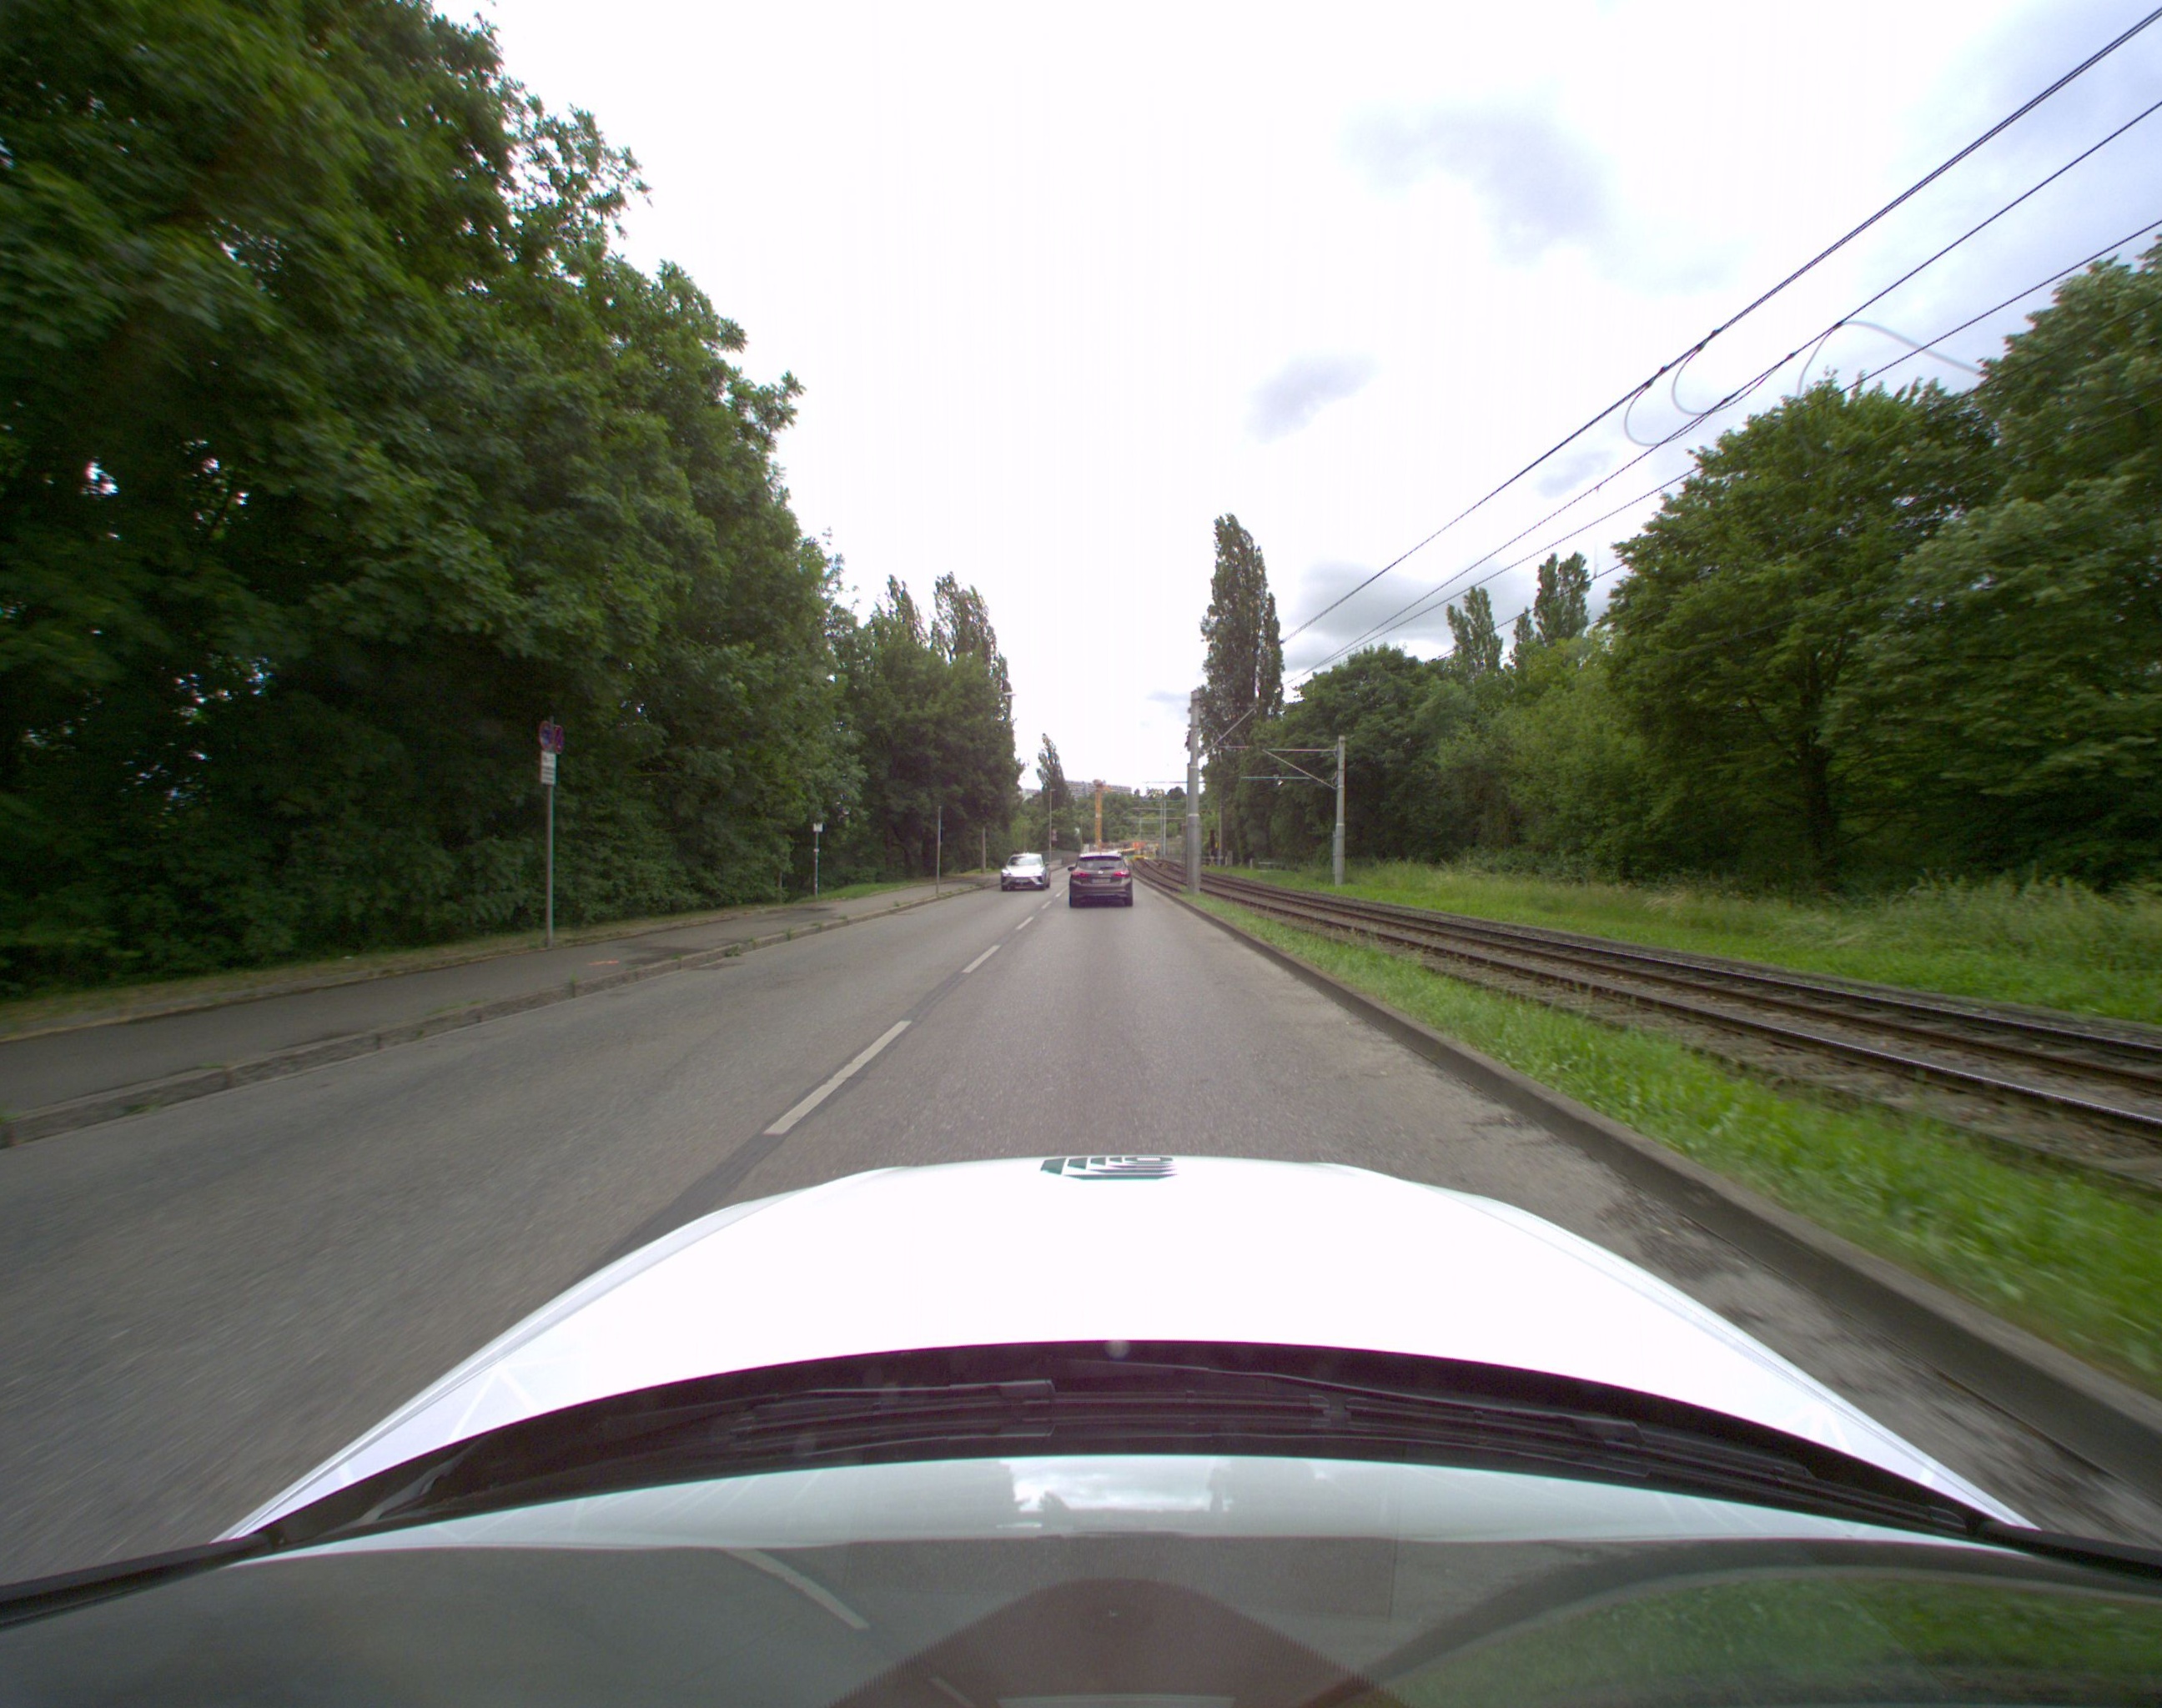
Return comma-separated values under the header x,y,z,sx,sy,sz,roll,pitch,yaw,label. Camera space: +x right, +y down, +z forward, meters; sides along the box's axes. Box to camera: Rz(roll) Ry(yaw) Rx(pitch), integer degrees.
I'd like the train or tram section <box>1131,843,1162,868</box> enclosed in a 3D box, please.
x,y,z,sx,sy,sz,roll,pitch,yaw,label
15.443,0.507,194.055,3.025,5.183,22.999,2,-2,-6,train or tram section

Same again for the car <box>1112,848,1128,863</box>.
x,y,z,sx,sy,sz,roll,pitch,yaw,label
4.375,0.118,91.253,1.673,1.606,4.312,1,0,3,car

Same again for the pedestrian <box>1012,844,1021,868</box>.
x,y,z,sx,sy,sz,roll,pitch,yaw,label
-4.804,0.156,60.561,0.585,1.803,0.822,2,0,1,pedestrian

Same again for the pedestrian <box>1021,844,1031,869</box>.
x,y,z,sx,sy,sz,roll,pitch,yaw,label
-4.109,0.189,60.668,0.549,1.765,0.858,4,0,1,pedestrian

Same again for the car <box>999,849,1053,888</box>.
x,y,z,sx,sy,sz,roll,pitch,yaw,label
-2.256,0.563,34.471,1.787,1.492,4.182,-2,0,2,car

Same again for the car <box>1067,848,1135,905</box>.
x,y,z,sx,sy,sz,roll,pitch,yaw,label
0.522,0.595,23.854,1.824,1.510,3.999,0,0,0,car
